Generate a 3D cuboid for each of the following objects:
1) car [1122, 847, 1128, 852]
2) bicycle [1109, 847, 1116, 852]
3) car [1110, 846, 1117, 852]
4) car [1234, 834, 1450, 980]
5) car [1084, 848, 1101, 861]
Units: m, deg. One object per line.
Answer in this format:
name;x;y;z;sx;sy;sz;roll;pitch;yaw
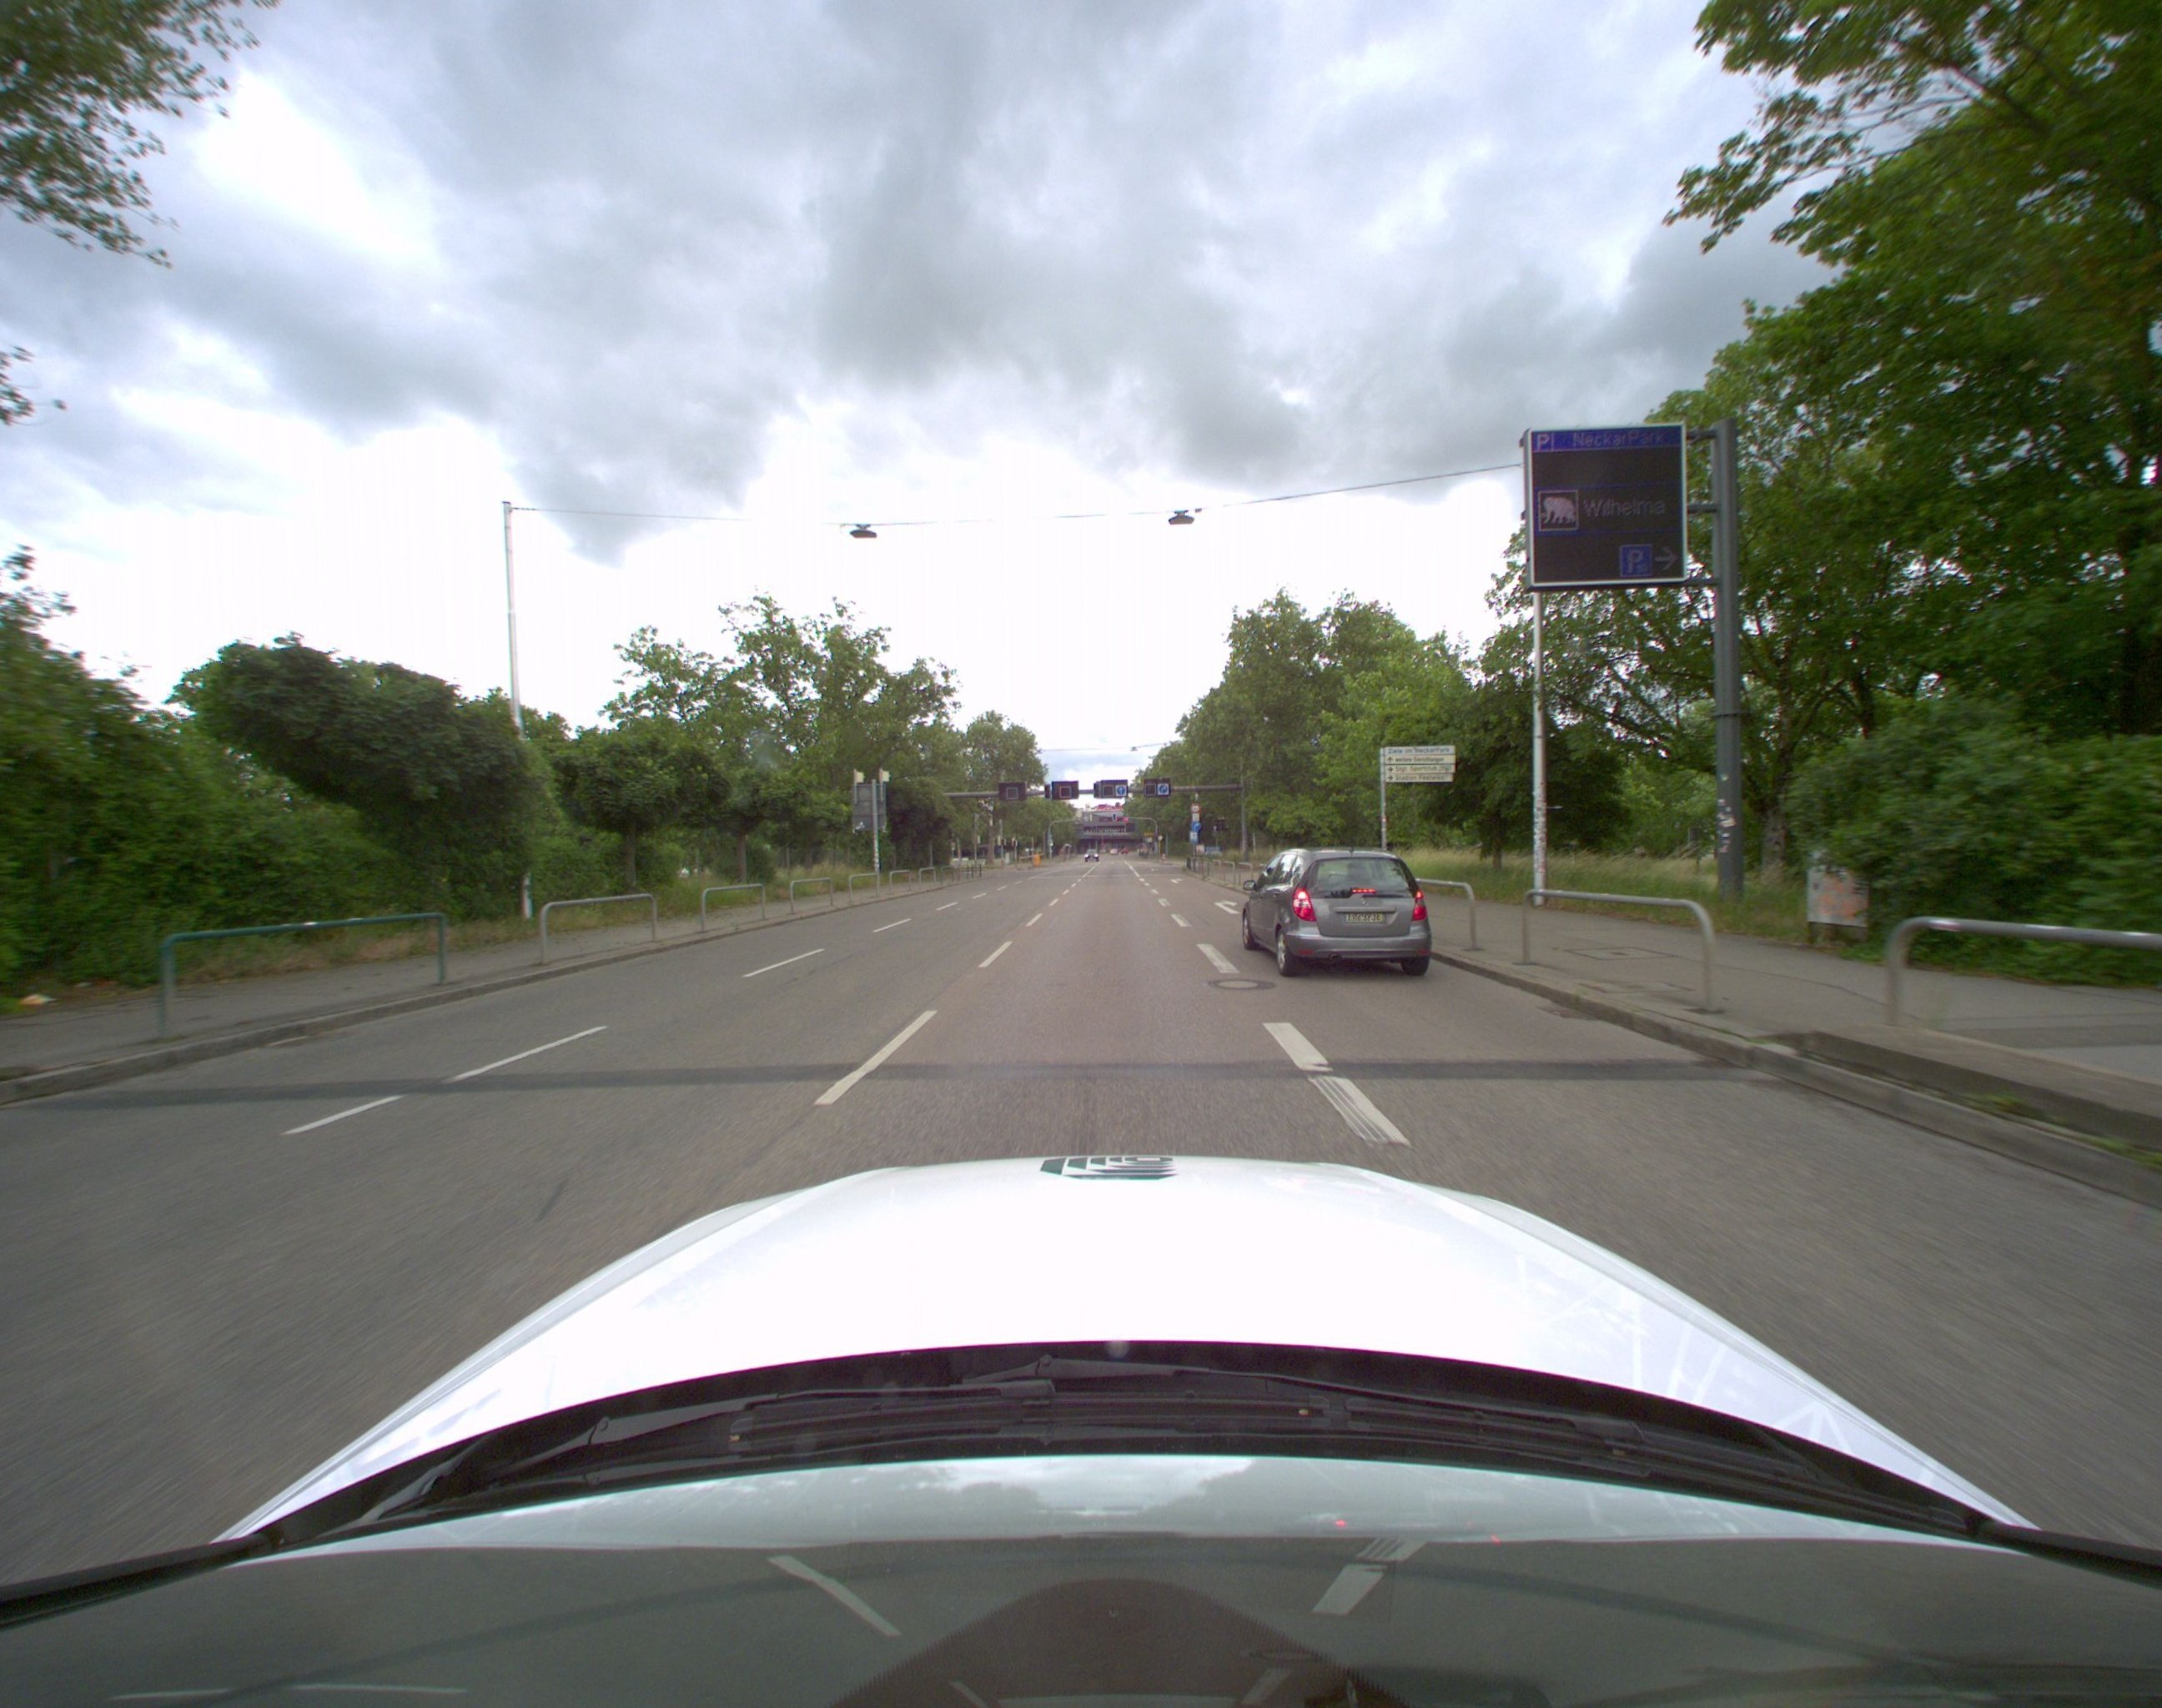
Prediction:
car;13.836;-1.382;256.055;1.999;1.698;4.073;-1;0;3
bicycle;9.427;-1.435;241.489;1.986;1.508;4.002;-1;1;1
car;9.299;-1.398;232.292;1.771;1.460;3.825;0;0;3
car;3.316;0.646;11.206;1.819;1.616;4.036;-1;-1;2
car;1.648;0.016;114.147;1.984;1.660;4.524;-3;0;5
